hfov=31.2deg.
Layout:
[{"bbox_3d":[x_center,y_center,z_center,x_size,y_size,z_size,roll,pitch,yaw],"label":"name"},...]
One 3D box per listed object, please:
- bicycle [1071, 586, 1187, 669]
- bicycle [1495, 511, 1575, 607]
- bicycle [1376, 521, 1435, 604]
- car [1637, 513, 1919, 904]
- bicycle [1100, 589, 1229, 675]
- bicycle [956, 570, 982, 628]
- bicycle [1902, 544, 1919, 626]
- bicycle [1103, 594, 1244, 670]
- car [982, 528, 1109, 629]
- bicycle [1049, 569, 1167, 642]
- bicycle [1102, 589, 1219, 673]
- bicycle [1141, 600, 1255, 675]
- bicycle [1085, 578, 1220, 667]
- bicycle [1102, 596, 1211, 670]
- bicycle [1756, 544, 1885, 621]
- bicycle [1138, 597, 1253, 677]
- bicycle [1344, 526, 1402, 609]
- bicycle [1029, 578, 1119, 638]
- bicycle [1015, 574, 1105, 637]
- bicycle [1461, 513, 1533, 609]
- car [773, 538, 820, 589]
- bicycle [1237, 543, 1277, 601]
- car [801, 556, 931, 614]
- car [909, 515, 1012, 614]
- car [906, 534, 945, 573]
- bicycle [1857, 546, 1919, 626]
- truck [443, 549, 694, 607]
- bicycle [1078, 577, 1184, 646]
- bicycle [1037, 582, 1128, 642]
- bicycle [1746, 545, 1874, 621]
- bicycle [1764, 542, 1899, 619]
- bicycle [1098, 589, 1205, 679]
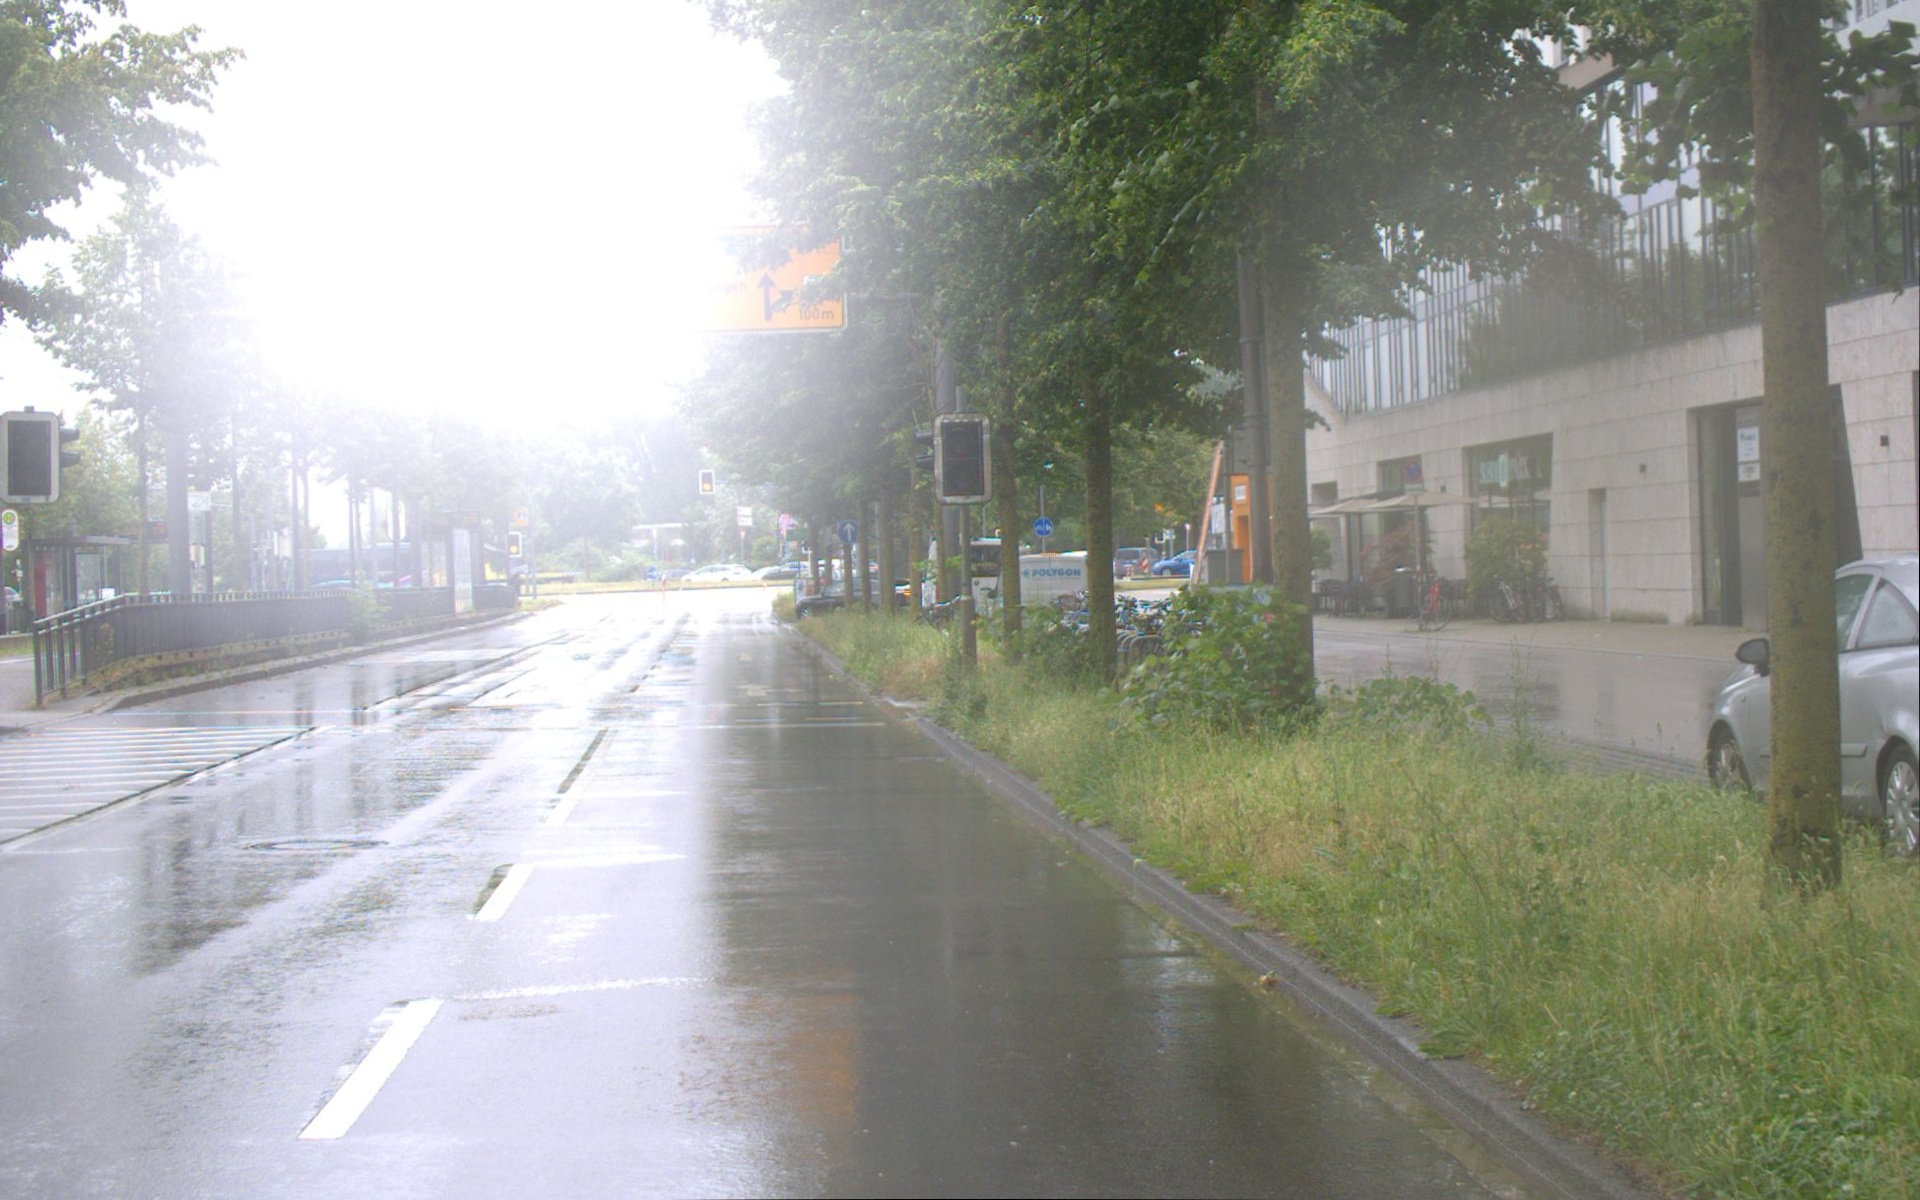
[{"bbox_3d":[2.181,0.353,44.447,1.452,1.014,0.349,-2,0,-1],"label":"bicycle"},{"bbox_3d":[11.169,-0.821,66.893,0.772,1.716,3.121,-2,3,-4],"label":"bicycle"},{"bbox_3d":[9.977,-0.870,77.084,0.644,1.716,3.121,-2,3,-4],"label":"bicycle"},{"bbox_3d":[4.889,0.409,16.881,1.881,1.500,4.725,-2,3,-4],"label":"car"},{"bbox_3d":[2.571,0.403,43.254,1.574,1.014,0.408,-2,1,3],"label":"bicycle"},{"bbox_3d":[0.128,-0.022,51.332,0.274,0.846,1.293,-2,1,-4],"label":"bicycle"},{"bbox_3d":[12.849,-0.217,43.266,1.806,1.025,0.541,-2,0,-1],"label":"bicycle"},{"bbox_3d":[2.590,0.391,41.793,1.672,0.846,0.275,-2,1,0],"label":"bicycle"},{"bbox_3d":[1.586,-0.434,65.429,1.906,1.785,4.689,-2,1,-4],"label":"car"},{"bbox_3d":[2.128,0.081,49.471,1.643,0.985,0.320,-2,1,-4],"label":"bicycle"},{"bbox_3d":[2.545,0.395,43.683,1.439,1.014,0.349,-2,1,3],"label":"bicycle"},{"bbox_3d":[2.811,0.439,40.598,1.289,0.829,0.275,-2,1,8],"label":"bicycle"},{"bbox_3d":[2.531,0.291,45.191,1.705,1.099,0.283,-2,1,-10],"label":"bicycle"},{"bbox_3d":[2.411,0.402,42.134,1.288,0.846,0.275,-2,1,1],"label":"bicycle"},{"bbox_3d":[12.187,-0.254,48.722,1.694,1.025,0.423,-2,0,-1],"label":"bicycle"},{"bbox_3d":[2.749,0.434,40.168,1.289,0.871,0.301,-2,1,8],"label":"bicycle"},{"bbox_3d":[9.236,-0.748,76.986,0.644,1.716,3.121,-2,3,-4],"label":"bicycle"},{"bbox_3d":[1.713,0.119,51.629,1.288,0.846,0.275,-2,1,-4],"label":"bicycle"},{"bbox_3d":[1.540,0.081,52.932,1.325,0.907,0.275,-2,1,-4],"label":"bicycle"},{"bbox_3d":[10.400,-0.784,66.681,0.644,1.716,3.121,-2,3,-4],"label":"bicycle"},{"bbox_3d":[-7.115,-1.591,149.219,1.940,2.006,4.001,-2,3,-3],"label":"car"},{"bbox_3d":[8.559,-0.823,99.141,0.666,1.529,2.765,-2,3,-4],"label":"bicycle"},{"bbox_3d":[-2.764,-0.459,100.818,1.815,1.539,3.999,-4,4,-36],"label":"car"},{"bbox_3d":[-0.021,-0.873,84.129,2.121,2.266,4.565,-2,1,-4],"label":"car"},{"bbox_3d":[-1.954,-2.674,195.711,1.993,2.006,4.001,-2,3,-3],"label":"car"},{"bbox_3d":[12.804,-0.210,45.277,1.806,1.025,0.541,-2,0,-1],"label":"bicycle"},{"bbox_3d":[-24.021,-1.360,210.975,14.854,3.136,3.524,-1,0,-14],"label":"truck"},{"bbox_3d":[2.359,0.154,47.518,1.409,0.894,0.275,-2,1,-6],"label":"bicycle"},{"bbox_3d":[1.805,0.173,50.519,1.288,0.846,0.275,-2,0,-4],"label":"bicycle"},{"bbox_3d":[12.177,-0.245,49.243,1.694,1.025,0.423,-2,0,-1],"label":"bicycle"},{"bbox_3d":[12.206,-0.274,48.178,1.750,1.025,0.412,-2,0,-1],"label":"bicycle"},{"bbox_3d":[2.384,0.426,42.846,1.288,1.070,0.275,-2,1,4],"label":"bicycle"}]
